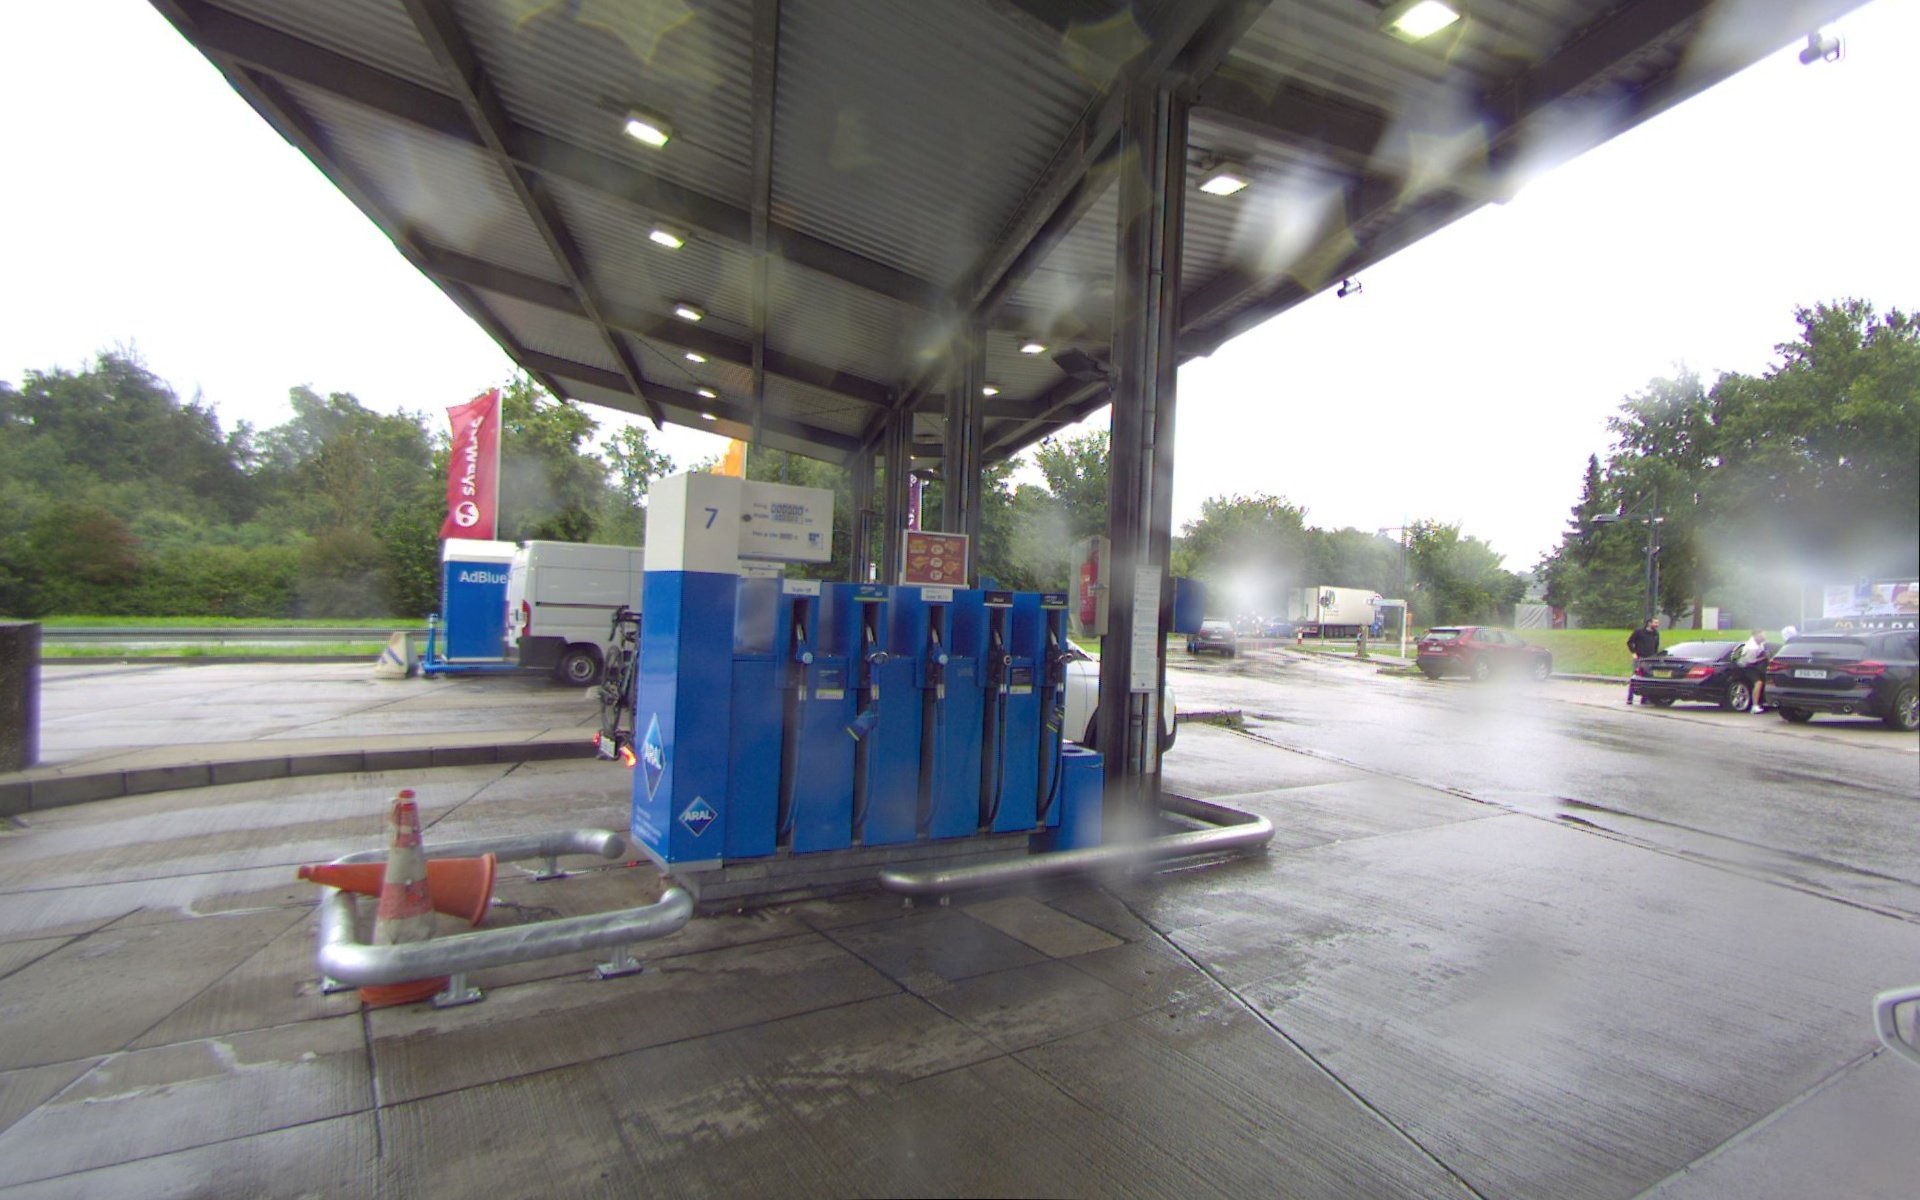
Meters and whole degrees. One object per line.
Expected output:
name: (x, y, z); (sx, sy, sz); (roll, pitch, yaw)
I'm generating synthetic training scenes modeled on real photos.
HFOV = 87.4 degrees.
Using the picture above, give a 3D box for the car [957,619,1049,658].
car: (1.968, 1.738, 45.157); (3.969, 1.650, 1.756); (3, -1, -41)

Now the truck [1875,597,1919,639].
truck: (68.862, 1.334, 71.697); (5.285, 2.959, 2.191); (2, 0, -5)

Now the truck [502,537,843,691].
truck: (-5.329, 0.295, 18.935); (5.793, 2.527, 2.221); (2, 0, -30)

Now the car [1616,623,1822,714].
car: (15.951, 1.360, 21.086); (4.293, 1.734, 2.007); (1, -2, -31)

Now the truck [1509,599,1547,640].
truck: (46.243, 1.569, 81.750); (2.441, 3.126, 7.341); (2, 0, 31)

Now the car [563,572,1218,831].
car: (-0.416, 0.703, 8.454); (5.210, 1.629, 1.852); (2, 0, -30)

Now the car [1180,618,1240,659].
car: (11.199, 1.708, 45.229); (1.960, 1.700, 4.002); (2, -1, 5)

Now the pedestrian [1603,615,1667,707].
pedestrian: (14.547, 1.301, 21.669); (0.691, 1.912, 0.892); (2, 0, -7)

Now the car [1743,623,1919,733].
car: (16.181, 1.274, 17.463); (4.274, 1.734, 2.016); (1, -1, -18)

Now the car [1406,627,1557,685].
car: (16.085, 1.675, 30.997); (4.283, 1.666, 1.933); (1, -2, -25)

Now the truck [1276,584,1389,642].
truck: (31.887, 1.196, 85.147); (3.498, 4.397, 16.922); (2, 0, 40)

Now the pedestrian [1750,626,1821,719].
pedestrian: (15.341, 1.327, 18.691); (0.938, 1.653, 0.701); (2, 0, 36)

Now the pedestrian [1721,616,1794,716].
pedestrian: (15.603, 1.279, 19.663); (0.939, 1.912, 0.701); (2, 0, -19)

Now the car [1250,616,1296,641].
car: (22.911, 2.071, 73.432); (1.787, 1.704, 3.934); (2, 0, 40)
